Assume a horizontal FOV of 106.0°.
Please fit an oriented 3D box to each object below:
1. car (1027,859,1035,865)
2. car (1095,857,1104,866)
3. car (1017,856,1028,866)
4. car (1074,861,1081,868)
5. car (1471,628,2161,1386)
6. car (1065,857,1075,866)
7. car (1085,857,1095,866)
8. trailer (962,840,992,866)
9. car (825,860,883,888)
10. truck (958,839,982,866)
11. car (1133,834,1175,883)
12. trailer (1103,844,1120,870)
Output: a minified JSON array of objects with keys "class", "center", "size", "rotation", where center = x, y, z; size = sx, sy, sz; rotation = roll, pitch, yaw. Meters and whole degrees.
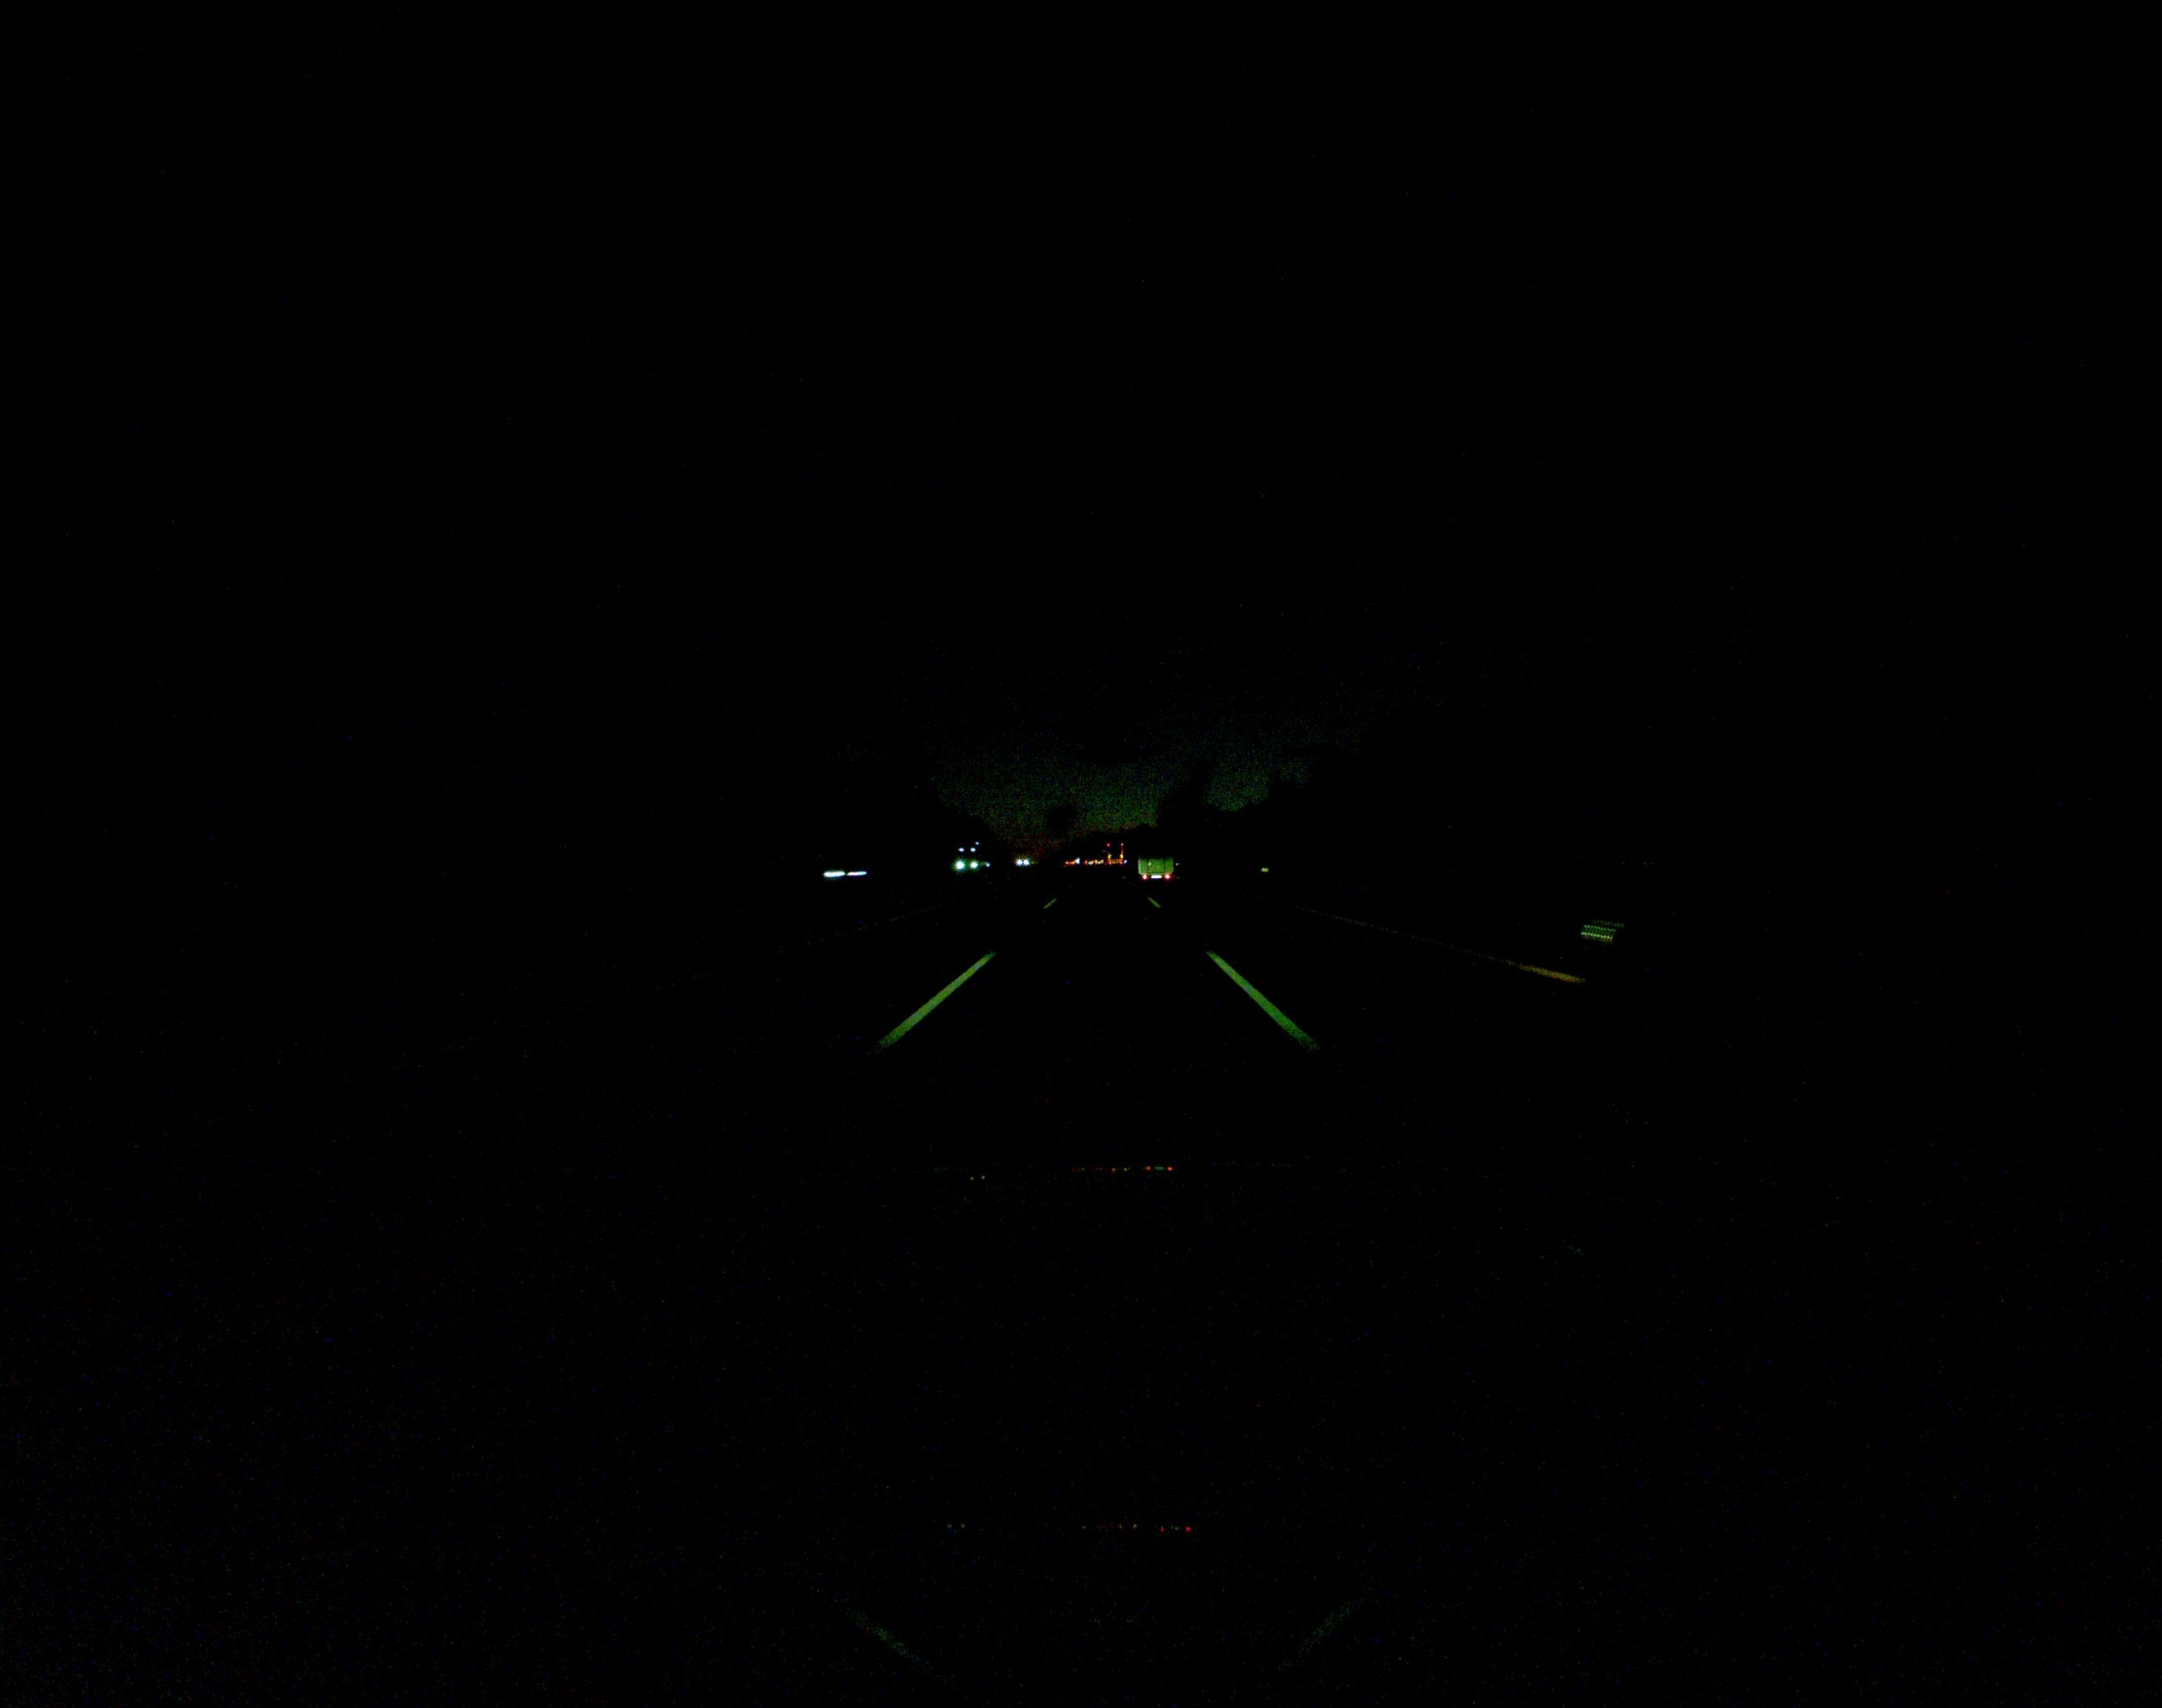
[{"class":"car","center":[-15.247,2.530,248.211],"size":[2.238,1.668,4.887],"rotation":[-1,-1,-1]},{"class":"car","center":[4.557,1.936,200.072],"size":[1.987,2.117,3.999],"rotation":[-1,-2,0]},{"class":"car","center":[-13.815,1.618,192.861],"size":[2.237,2.101,5.714],"rotation":[-1,0,0]},{"class":"car","center":[-0.965,2.868,223.206],"size":[1.986,1.816,4.001],"rotation":[-1,-2,2]},{"class":"car","center":[3.949,0.405,3.381],"size":[2.107,2.001,5.666],"rotation":[-1,-1,2]},{"class":"car","center":[-2.171,1.513,164.168],"size":[1.987,1.794,3.998],"rotation":[-1,-2,-1]},{"class":"car","center":[1.922,1.649,169.790],"size":[1.988,1.794,3.997],"rotation":[-1,-2,-2]},{"class":"trailer","center":[-16.762,-0.137,132.229],"size":[2.844,3.980,13.885],"rotation":[-1,0,1]},{"class":"car","center":[-14.217,1.221,51.345],"size":[2.002,1.669,4.952],"rotation":[-1,0,3]},{"class":"truck","center":[-16.867,-0.221,123.977],"size":[2.844,3.980,5.860],"rotation":[-1,0,0]},{"class":"car","center":[4.199,0.271,47.745],"size":[2.025,2.647,5.725],"rotation":[-1,-1,1]},{"class":"trailer","center":[5.469,0.689,148.191],"size":[2.819,4.257,17.050],"rotation":[-1,-2,2]}]
